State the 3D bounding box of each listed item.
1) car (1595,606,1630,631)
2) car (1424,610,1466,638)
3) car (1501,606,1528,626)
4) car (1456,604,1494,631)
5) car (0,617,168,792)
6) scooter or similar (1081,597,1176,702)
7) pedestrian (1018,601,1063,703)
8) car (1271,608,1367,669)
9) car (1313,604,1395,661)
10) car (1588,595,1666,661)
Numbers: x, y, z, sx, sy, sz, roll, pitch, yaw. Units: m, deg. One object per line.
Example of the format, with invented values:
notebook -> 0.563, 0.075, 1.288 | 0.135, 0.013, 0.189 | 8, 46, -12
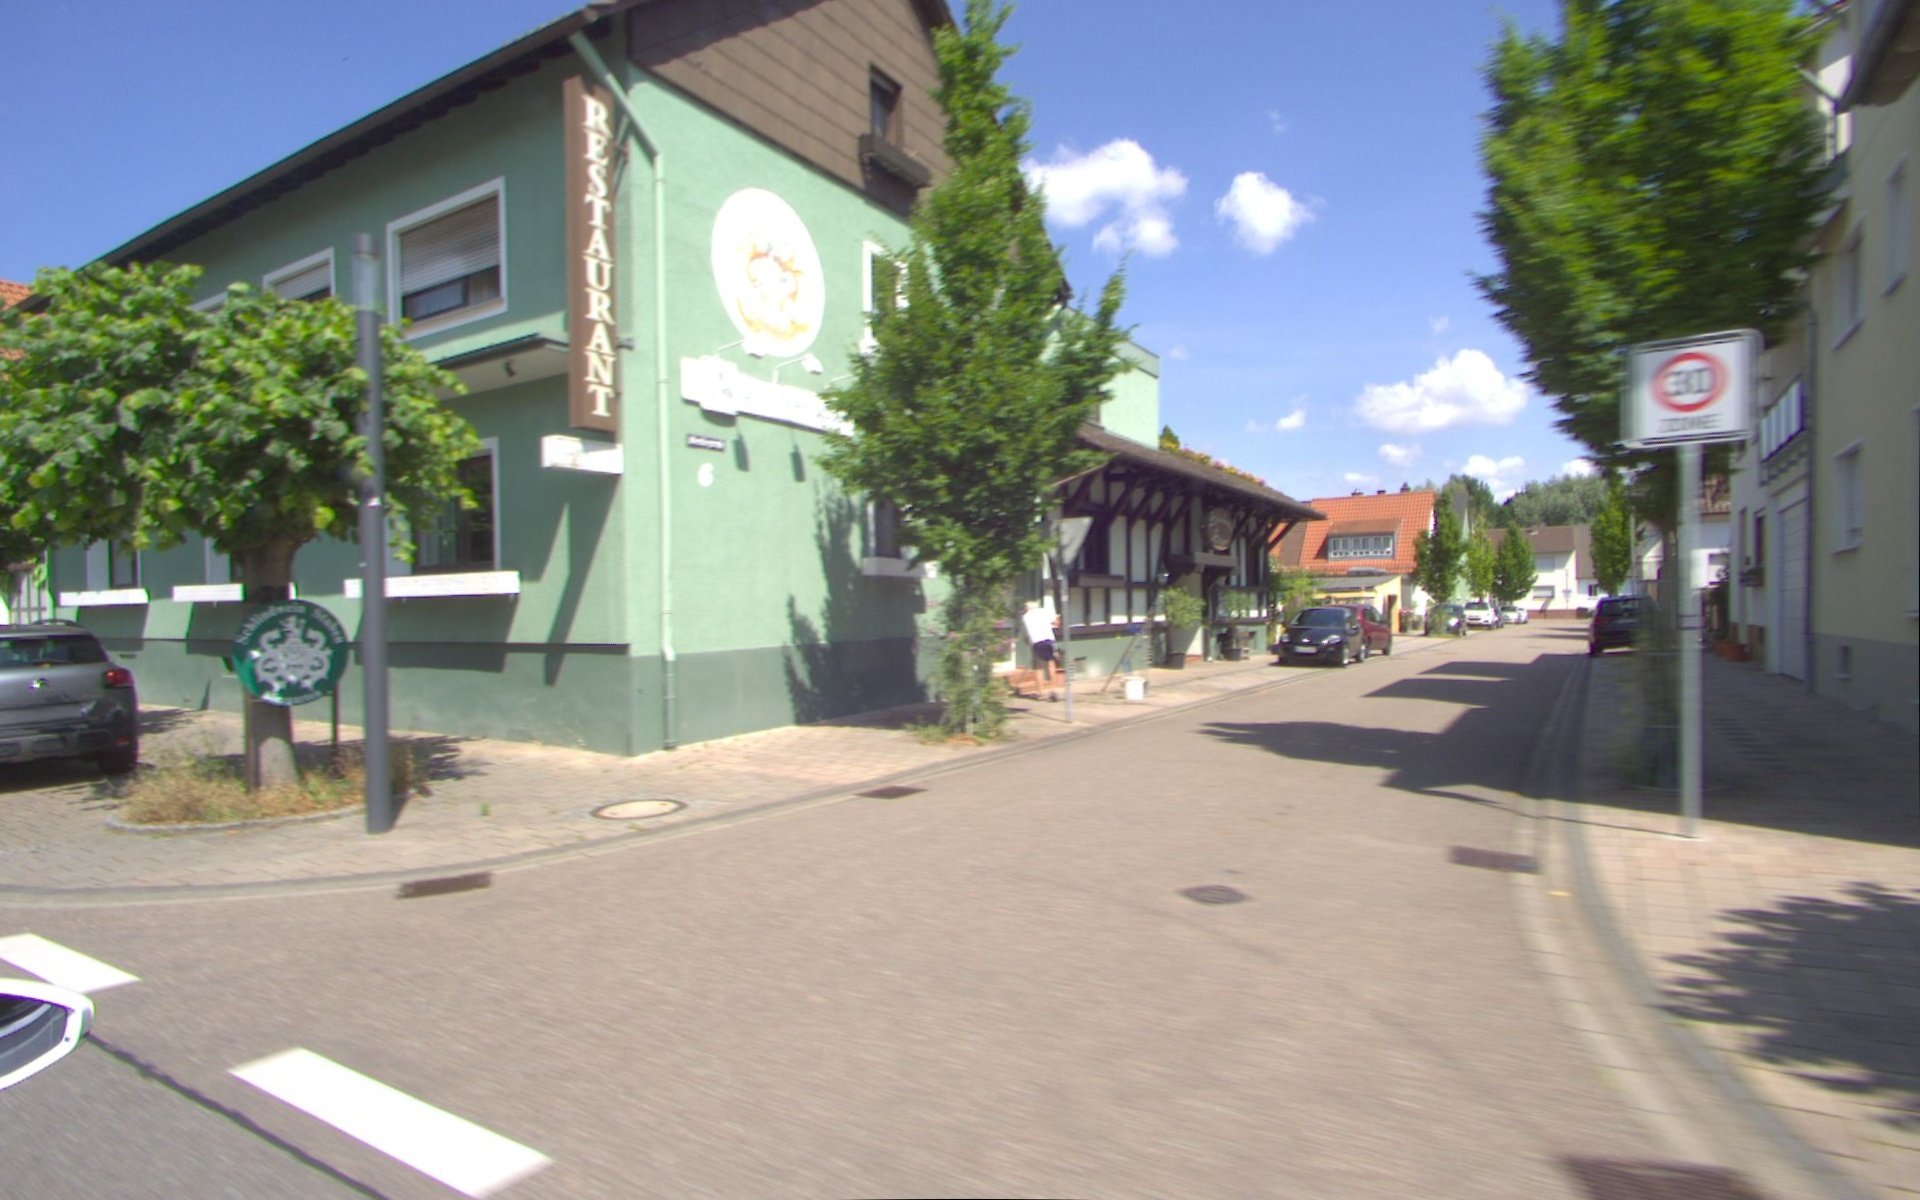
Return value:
car -> 40.666, 1.154, 62.467 | 1.716, 1.431, 3.720 | -3, -1, 32
car -> 23.716, 1.166, 48.895 | 1.524, 1.338, 3.134 | 0, -1, 32
car -> 45.091, 1.298, 81.399 | 1.715, 1.555, 3.722 | 0, -1, 32
car -> 30.669, 1.076, 59.592 | 1.715, 1.555, 3.722 | 0, -1, 32
car -> -10.415, 1.006, 10.690 | 3.942, 1.628, 1.834 | -1, -1, 31
scooter or similar -> 2.880, 0.811, 17.103 | 1.176, 1.669, 1.090 | 3, 2, 36
pedestrian -> 1.292, 0.831, 16.084 | 0.537, 1.589, 0.544 | -1, -2, 29
car -> 9.383, 0.972, 26.017 | 1.601, 1.475, 3.722 | 0, -1, 32
car -> 12.193, 0.981, 30.888 | 1.715, 1.619, 3.722 | 0, -1, 32
car -> 19.445, 0.789, 29.325 | 1.716, 1.743, 3.720 | -3, -1, 32
